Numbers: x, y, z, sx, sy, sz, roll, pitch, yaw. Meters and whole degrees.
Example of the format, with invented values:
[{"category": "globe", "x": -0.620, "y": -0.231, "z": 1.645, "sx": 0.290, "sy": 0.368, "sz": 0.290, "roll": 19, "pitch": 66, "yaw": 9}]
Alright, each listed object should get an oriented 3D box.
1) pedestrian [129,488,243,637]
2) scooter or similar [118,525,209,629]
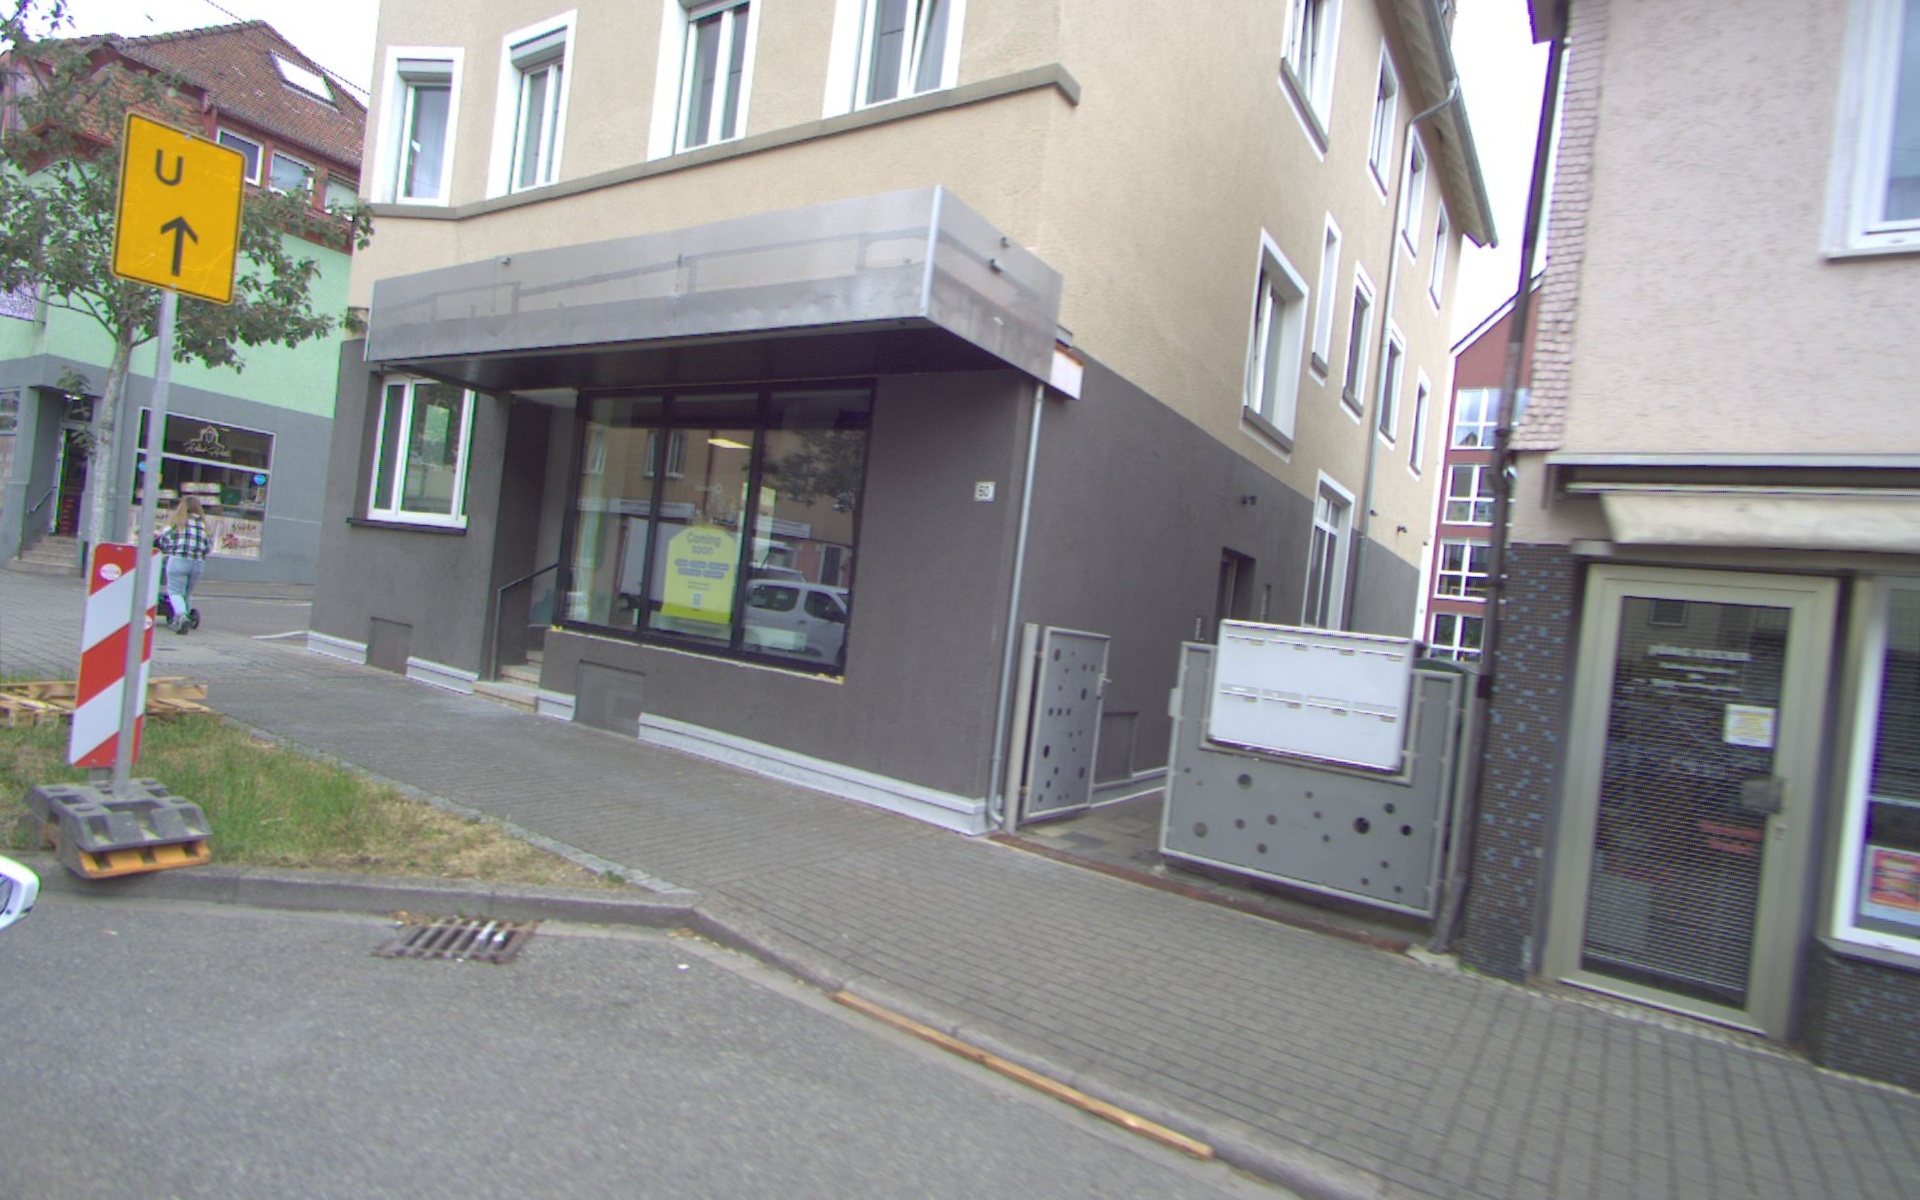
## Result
[{"category": "pedestrian", "x": -9.780, "y": -0.469, "z": 12.715, "sx": 0.885, "sy": 1.740, "sz": 0.751, "roll": 7, "pitch": 0, "yaw": 34}, {"category": "scooter or similar", "x": -10.540, "y": -0.306, "z": 13.311, "sx": 0.877, "sy": 1.247, "sz": 0.590, "roll": 7, "pitch": 0, "yaw": 34}]
